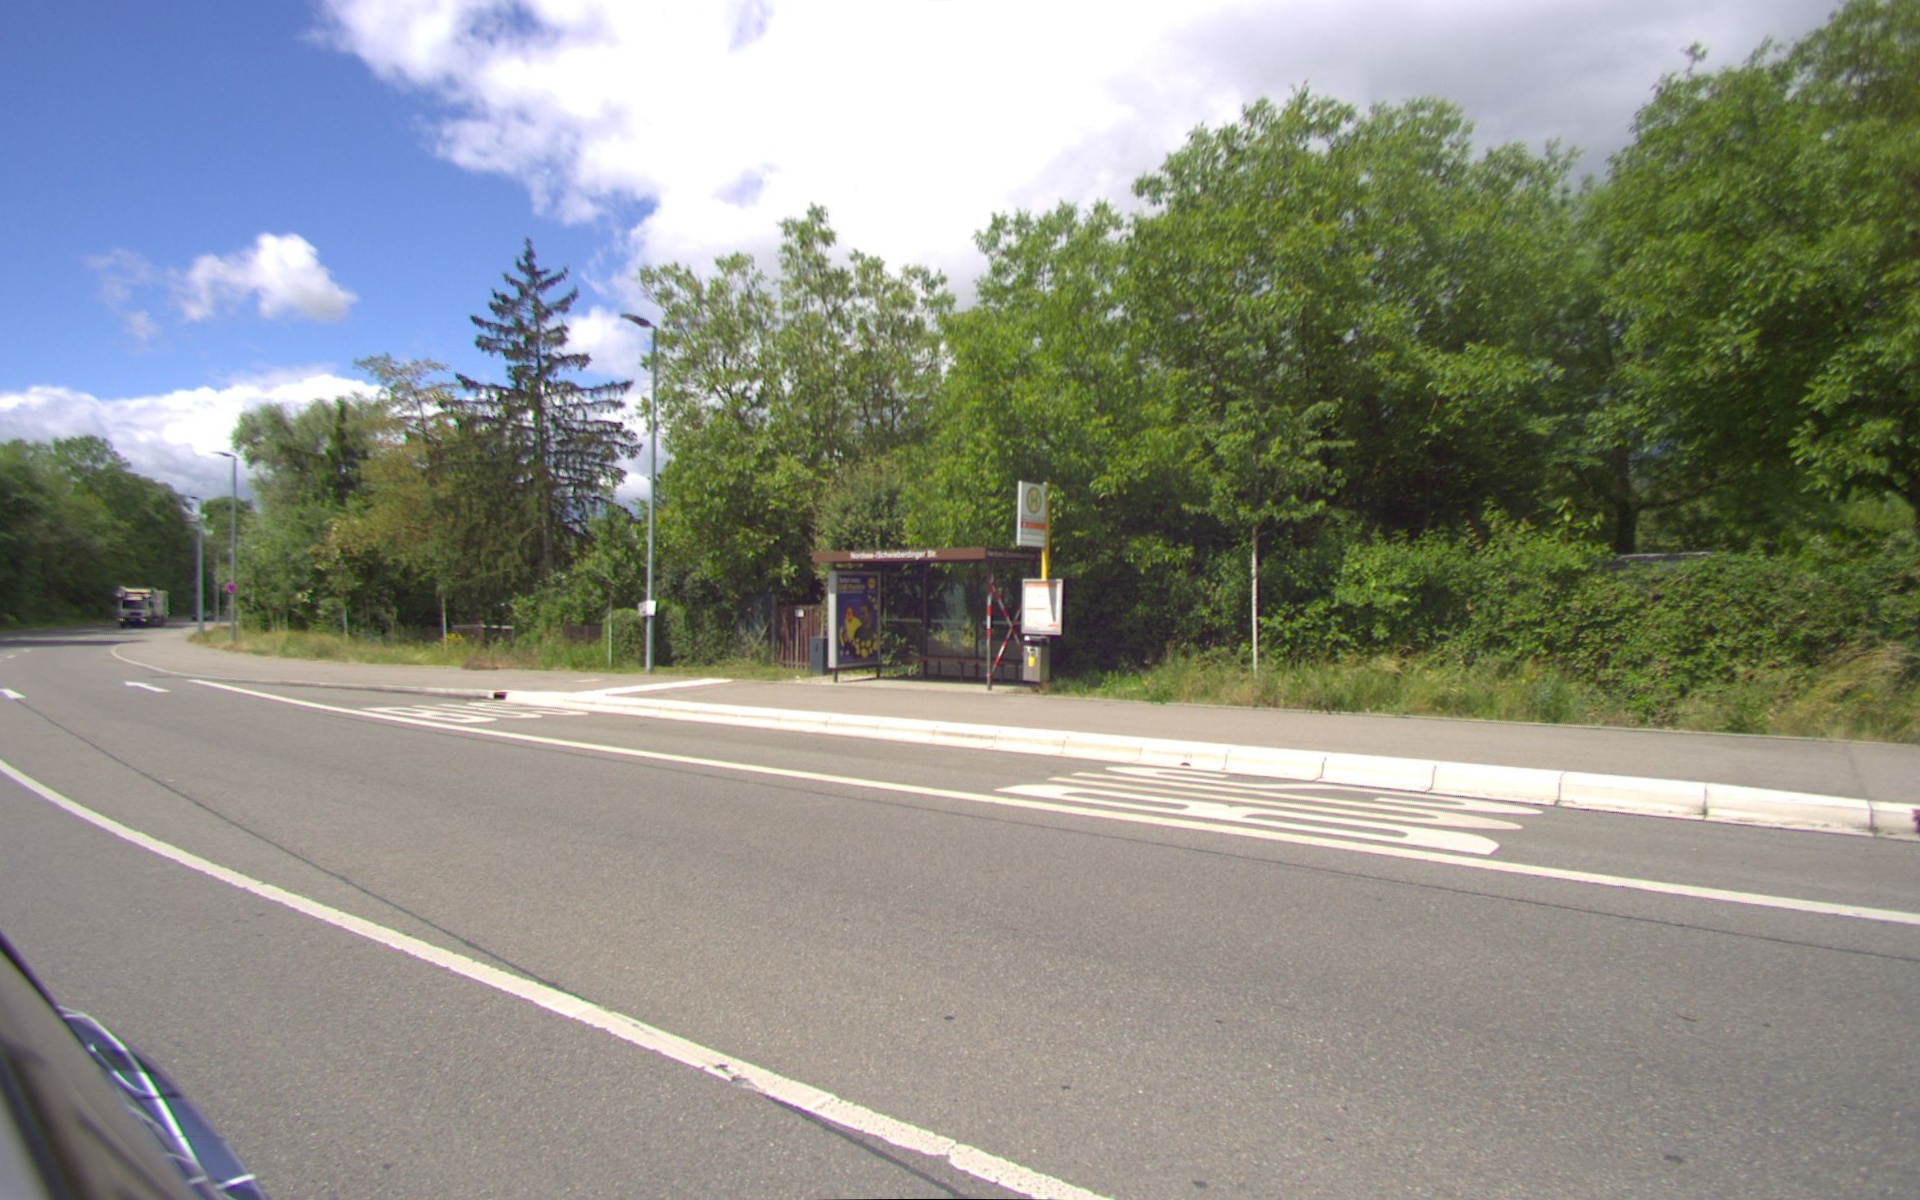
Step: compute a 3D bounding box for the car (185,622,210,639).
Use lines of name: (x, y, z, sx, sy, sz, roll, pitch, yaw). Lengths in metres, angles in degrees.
car: (-97.046, 3.853, 128.781, 1.965, 2.029, 4.013, 2, -1, -29)

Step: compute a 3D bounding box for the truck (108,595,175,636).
truck: (-82.844, 1.513, 102.606, 3.187, 3.890, 9.905, 2, -1, -27)
